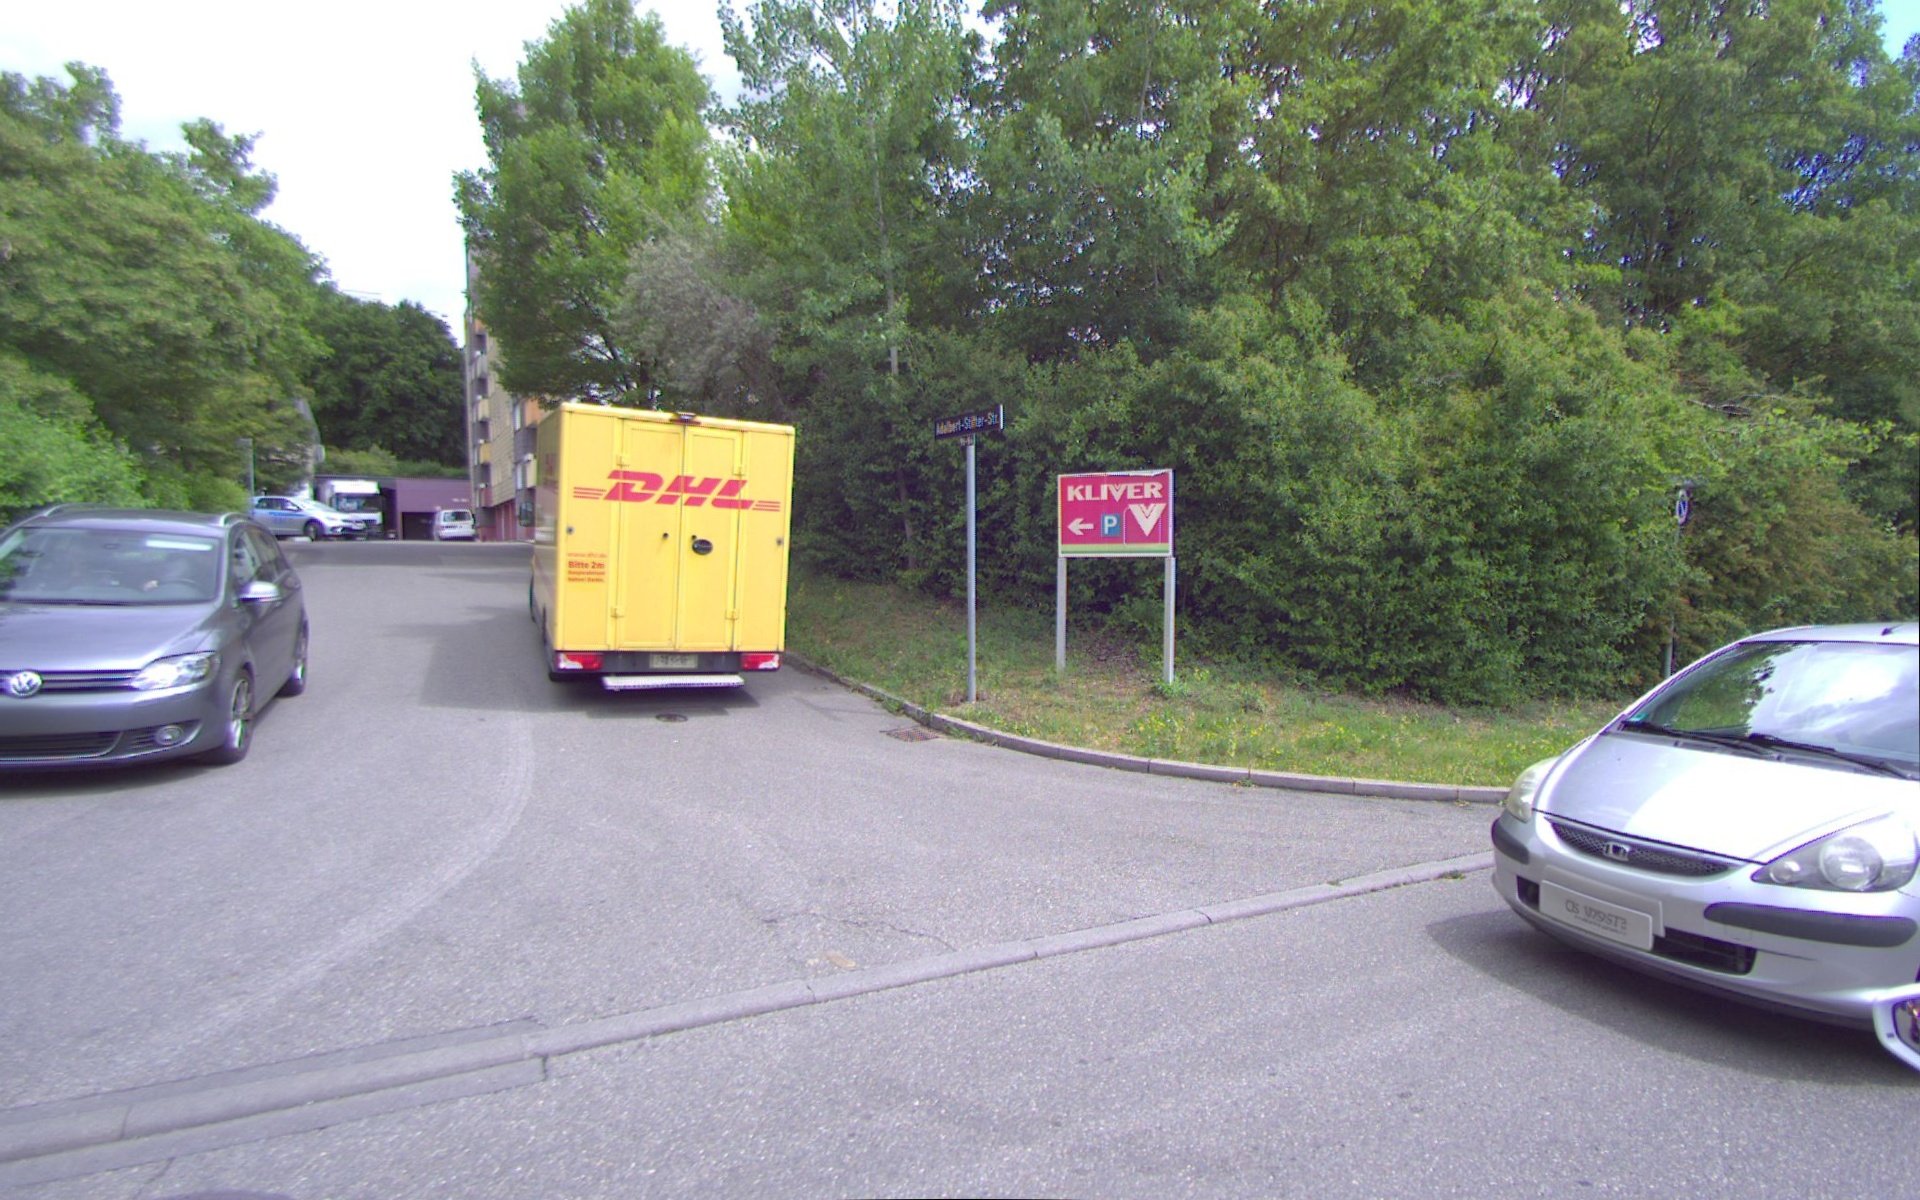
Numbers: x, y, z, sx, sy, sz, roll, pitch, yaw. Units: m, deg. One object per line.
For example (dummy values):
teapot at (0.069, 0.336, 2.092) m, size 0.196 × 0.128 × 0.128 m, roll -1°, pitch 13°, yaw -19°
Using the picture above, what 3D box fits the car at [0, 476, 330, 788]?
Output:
car at (-5.902, 0.045, 7.302) m, size 1.735 × 1.684 × 4.092 m, roll 2°, pitch 3°, yaw -26°

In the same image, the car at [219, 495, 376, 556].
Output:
car at (-21.327, -2.372, 32.418) m, size 3.921 × 1.684 × 1.659 m, roll 3°, pitch 3°, yaw 0°

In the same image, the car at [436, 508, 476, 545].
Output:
car at (-29.302, -4.253, 58.370) m, size 1.775 × 1.850 × 3.966 m, roll 1°, pitch 0°, yaw -31°

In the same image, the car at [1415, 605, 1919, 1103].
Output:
car at (4.173, 0.829, 4.512) m, size 3.597 × 1.475 × 1.839 m, roll 2°, pitch 0°, yaw -20°

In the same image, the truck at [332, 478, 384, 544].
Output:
truck at (-37.432, -5.492, 62.475) m, size 2.551 × 3.743 × 7.271 m, roll 1°, pitch 3°, yaw -31°

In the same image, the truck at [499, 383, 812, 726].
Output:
truck at (-3.936, -0.724, 11.719) m, size 2.205 × 2.847 × 6.521 m, roll 1°, pitch 6°, yaw -28°
